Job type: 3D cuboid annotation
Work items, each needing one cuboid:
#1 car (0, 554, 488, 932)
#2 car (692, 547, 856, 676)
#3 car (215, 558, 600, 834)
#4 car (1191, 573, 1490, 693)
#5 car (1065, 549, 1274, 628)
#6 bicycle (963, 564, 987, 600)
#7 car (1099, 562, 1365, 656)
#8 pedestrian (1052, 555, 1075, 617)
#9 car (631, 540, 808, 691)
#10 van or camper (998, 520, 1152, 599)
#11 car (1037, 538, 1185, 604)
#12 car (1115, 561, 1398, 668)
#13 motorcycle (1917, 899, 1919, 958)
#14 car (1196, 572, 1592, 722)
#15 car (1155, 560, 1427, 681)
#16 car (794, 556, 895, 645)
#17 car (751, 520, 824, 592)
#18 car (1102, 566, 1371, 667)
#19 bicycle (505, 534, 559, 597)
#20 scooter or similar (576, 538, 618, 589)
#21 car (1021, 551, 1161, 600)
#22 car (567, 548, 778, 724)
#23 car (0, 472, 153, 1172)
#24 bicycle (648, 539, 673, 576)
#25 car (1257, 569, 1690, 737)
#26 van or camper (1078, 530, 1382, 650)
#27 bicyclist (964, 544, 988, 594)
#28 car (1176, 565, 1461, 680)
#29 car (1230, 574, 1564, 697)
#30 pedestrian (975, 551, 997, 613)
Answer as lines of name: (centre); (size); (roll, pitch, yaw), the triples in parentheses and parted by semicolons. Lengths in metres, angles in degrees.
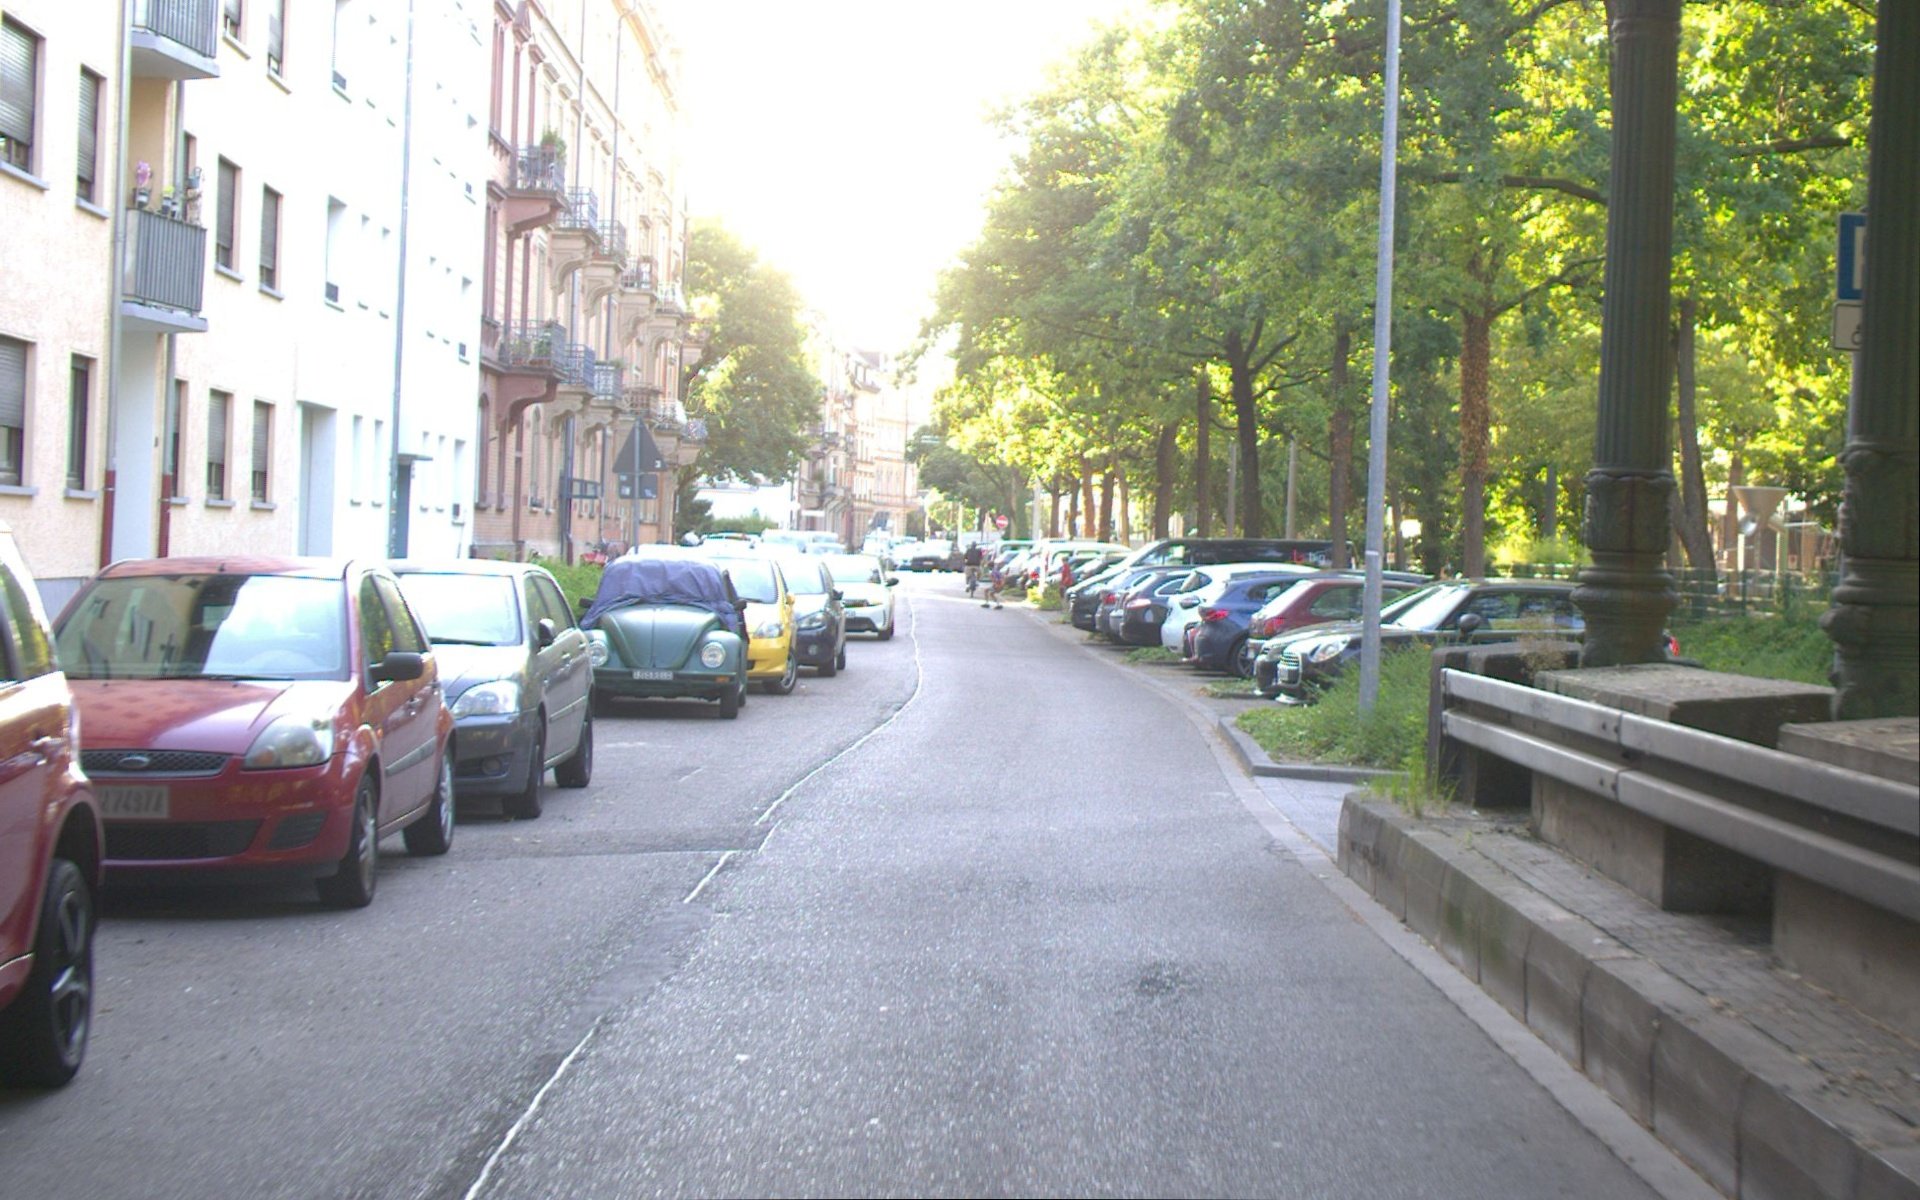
car: (-3.258, 0.542, 15.501); (1.689, 1.436, 4.000); (2, 0, 0)
car: (-2.246, 0.106, 42.465); (1.739, 1.474, 4.000); (1, 1, 1)
car: (-3.169, 0.493, 20.425); (1.636, 1.461, 4.000); (-1, 1, 0)
car: (4.933, 0.431, 44.856); (3.782, 1.442, 1.664); (1, -1, 5)
car: (4.565, -0.252, 75.284); (4.399, 1.585, 1.838); (1, 0, -1)
bicycle: (0.471, -0.586, 110.686); (0.641, 1.096, 1.944); (3, -1, -2)
car: (4.725, 0.165, 60.142); (4.399, 1.496, 1.838); (1, -1, -3)
pedestrian: (2.624, -0.356, 86.938); (0.380, 1.511, 0.518); (3, 3, 19)
car: (-2.585, 0.139, 37.593); (1.702, 1.520, 3.774); (2, 1, -1)
van or camper: (3.919, -1.371, 117.422); (4.981, 2.369, 2.185); (3, -1, -2)
car: (4.396, -0.861, 100.446); (4.220, 1.857, 1.762); (1, 1, 1)
car: (4.730, 0.234, 54.969); (4.400, 1.572, 1.664); (1, -1, 4)
motorcycle: (4.948, 0.862, 14.584); (1.601, 1.403, 0.712); (3, -1, 20)
car: (4.364, 0.474, 35.004); (3.782, 1.397, 1.827); (1, -1, 1)
car: (4.804, 0.299, 50.243); (3.782, 1.640, 1.664); (1, -1, 0)
car: (-2.014, -0.021, 60.905); (1.668, 1.426, 4.001); (0, 2, 0)
car: (-5.140, -1.278, 102.751); (1.993, 1.914, 5.040); (3, -1, -2)
car: (4.612, 0.281, 57.788); (4.399, 1.572, 1.664); (1, -1, 2)
bicycle: (-8.850, -0.727, 71.200); (0.737, 1.202, 2.514); (3, 2, 0)
scooter or similar: (-9.408, -0.927, 89.217); (0.783, 1.218, 2.704); (3, -1, -1)
car: (4.016, -0.746, 104.895); (4.220, 1.448, 1.649); (1, 1, 4)
car: (-2.649, 0.298, 32.374); (1.567, 1.512, 3.782); (2, 1, 1)
car: (-3.162, 0.528, 7.961); (1.716, 1.702, 4.323); (1, 0, -3)
bicycle: (-9.776, -1.391, 112.296); (0.705, 1.143, 1.890); (3, -1, -4)
car: (4.851, 0.499, 32.775); (3.781, 1.467, 1.635); (1, -1, -4)
van or camper: (4.887, -0.202, 62.918); (5.414, 2.020, 2.029); (1, 1, 2)
bicyclist: (0.514, -1.004, 110.664); (0.627, 1.568, 0.802); (3, 0, -2)
car: (4.926, 0.316, 47.610); (3.782, 1.468, 1.664); (1, -1, 2)
car: (5.356, 0.436, 42.402); (3.781, 1.397, 1.767); (1, -1, -4)
pedestrian: (0.688, -0.472, 90.415); (0.380, 1.579, 0.518); (3, 3, 19)
